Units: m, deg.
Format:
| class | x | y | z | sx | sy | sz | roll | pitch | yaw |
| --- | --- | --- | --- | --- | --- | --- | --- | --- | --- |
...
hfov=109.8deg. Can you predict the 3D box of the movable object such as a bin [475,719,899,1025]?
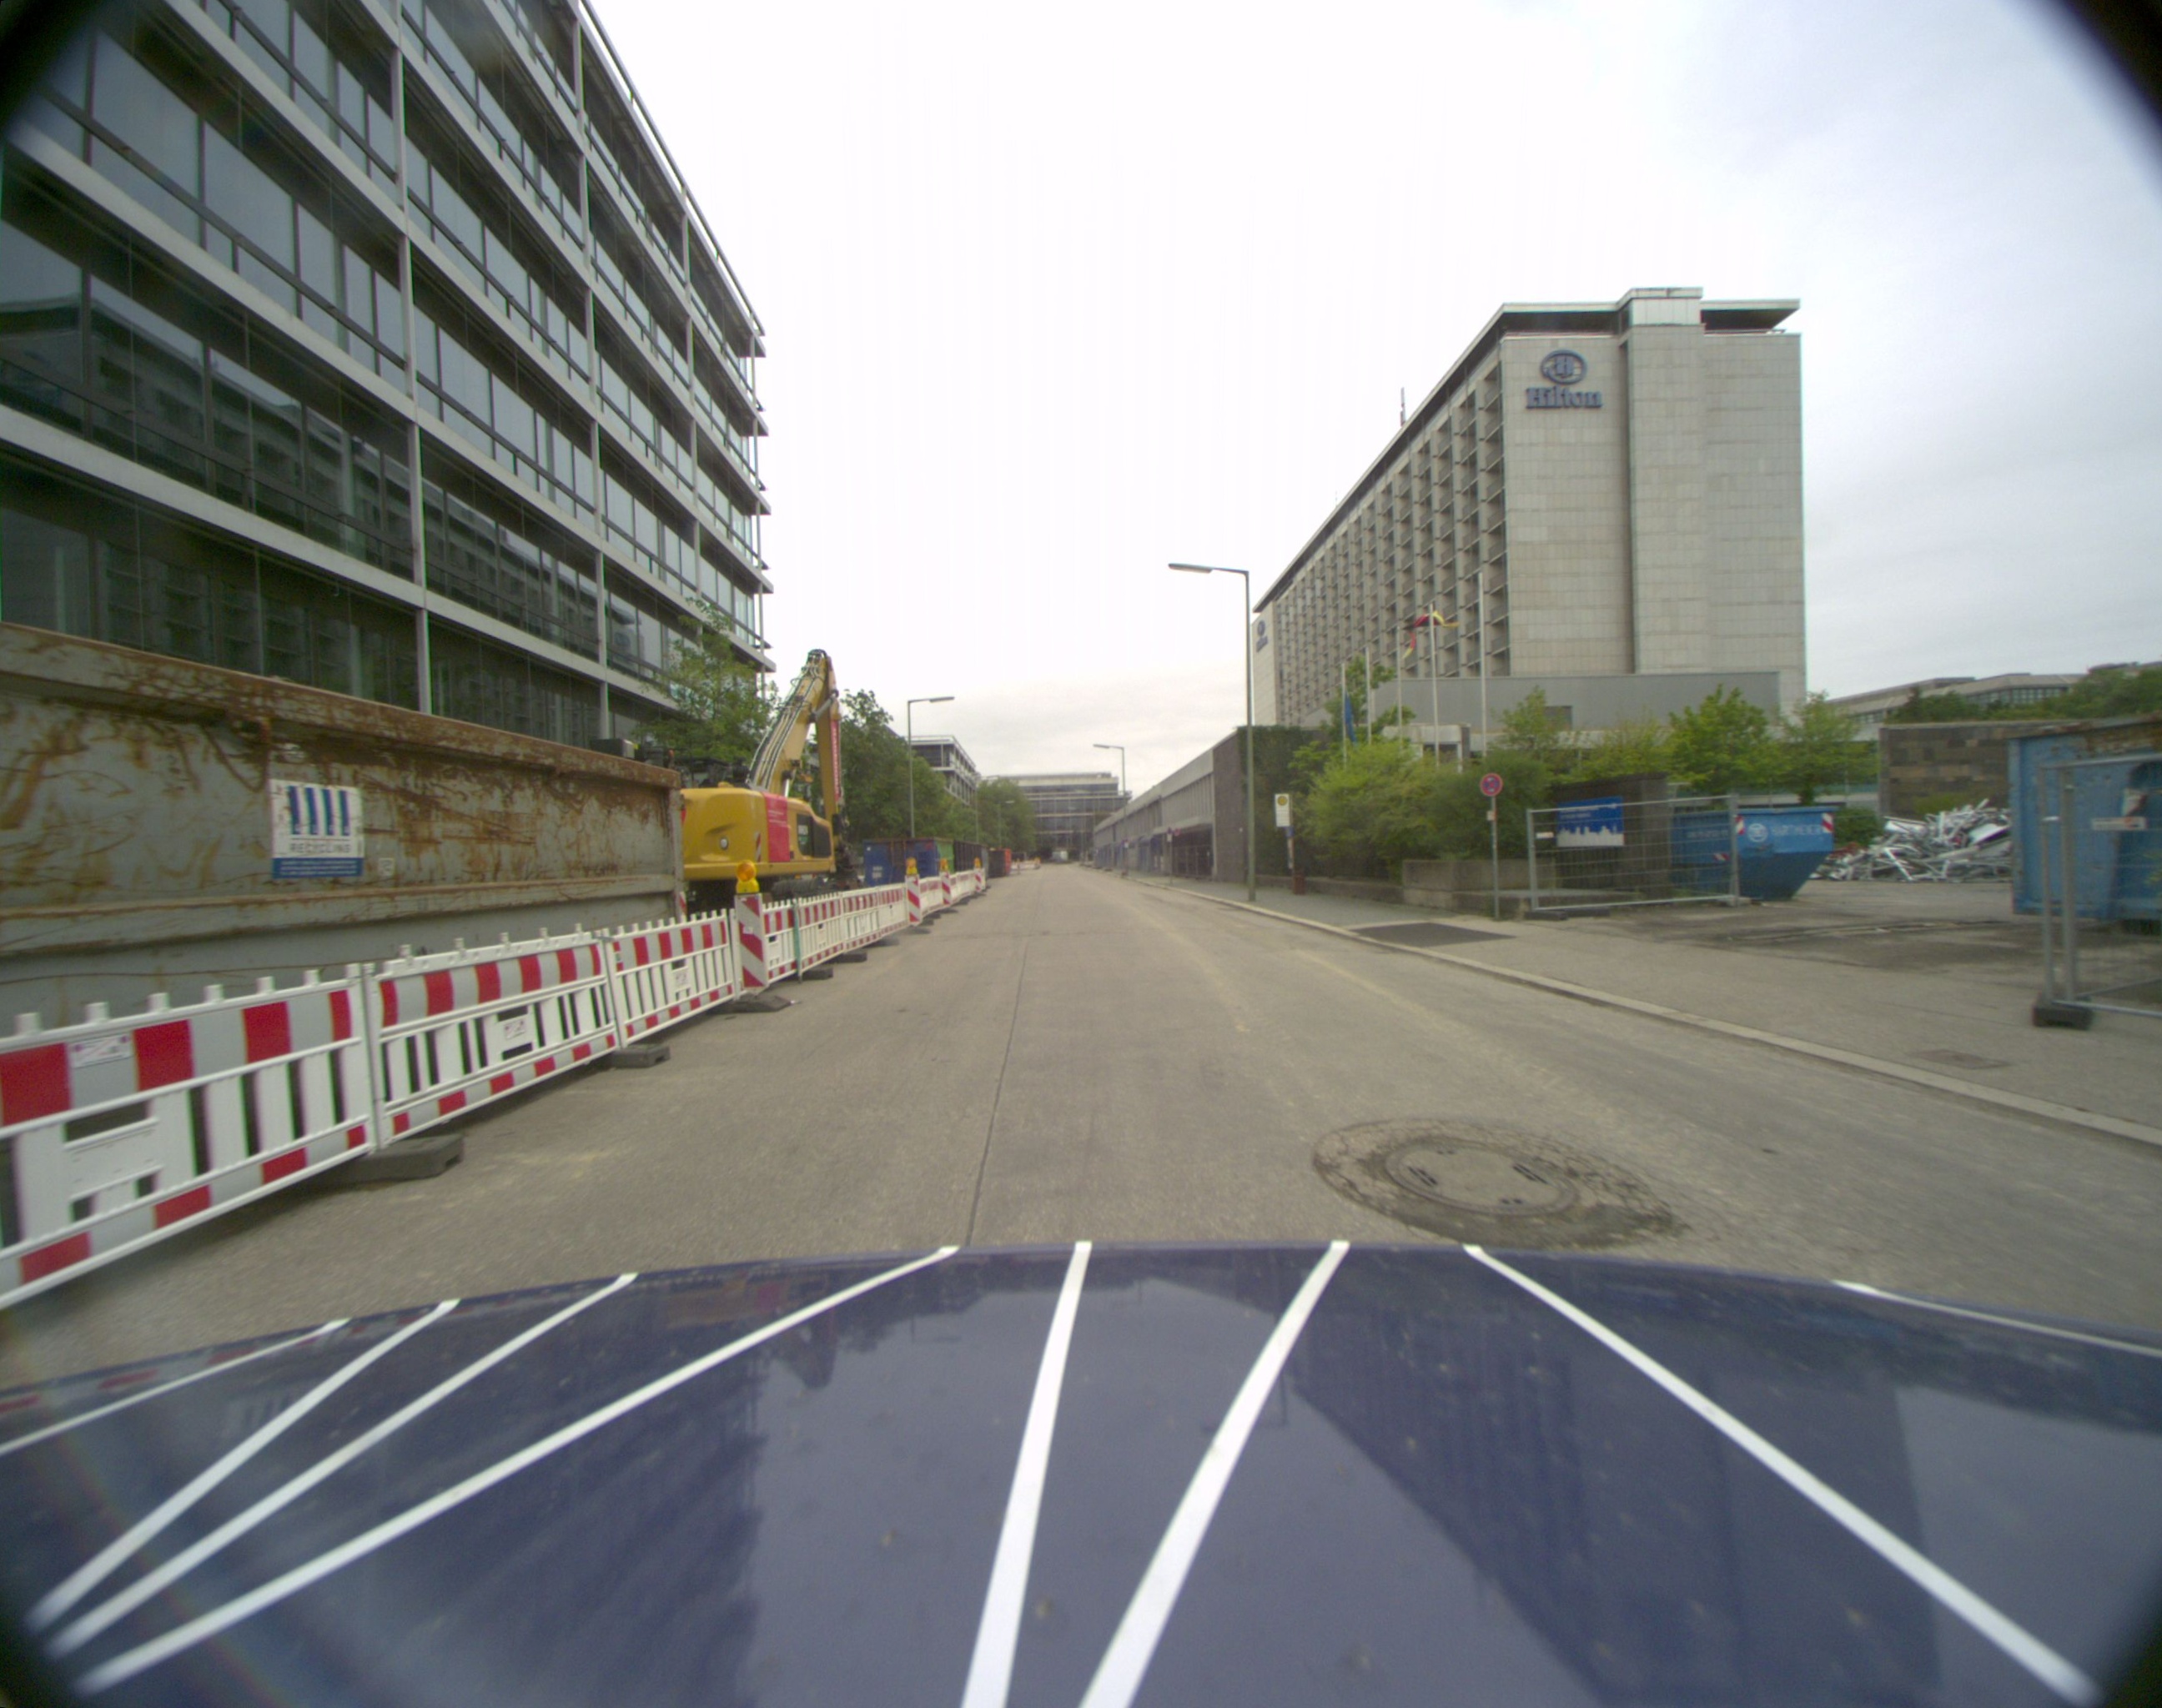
| class | x | y | z | sx | sy | sz | roll | pitch | yaw |
| --- | --- | --- | --- | --- | --- | --- | --- | --- | --- |
| movable object such as a bin | -5.973 | 0.174 | 13.989 | 3.250 | 3.695 | 9.004 | -2 | 1 | -2 |
